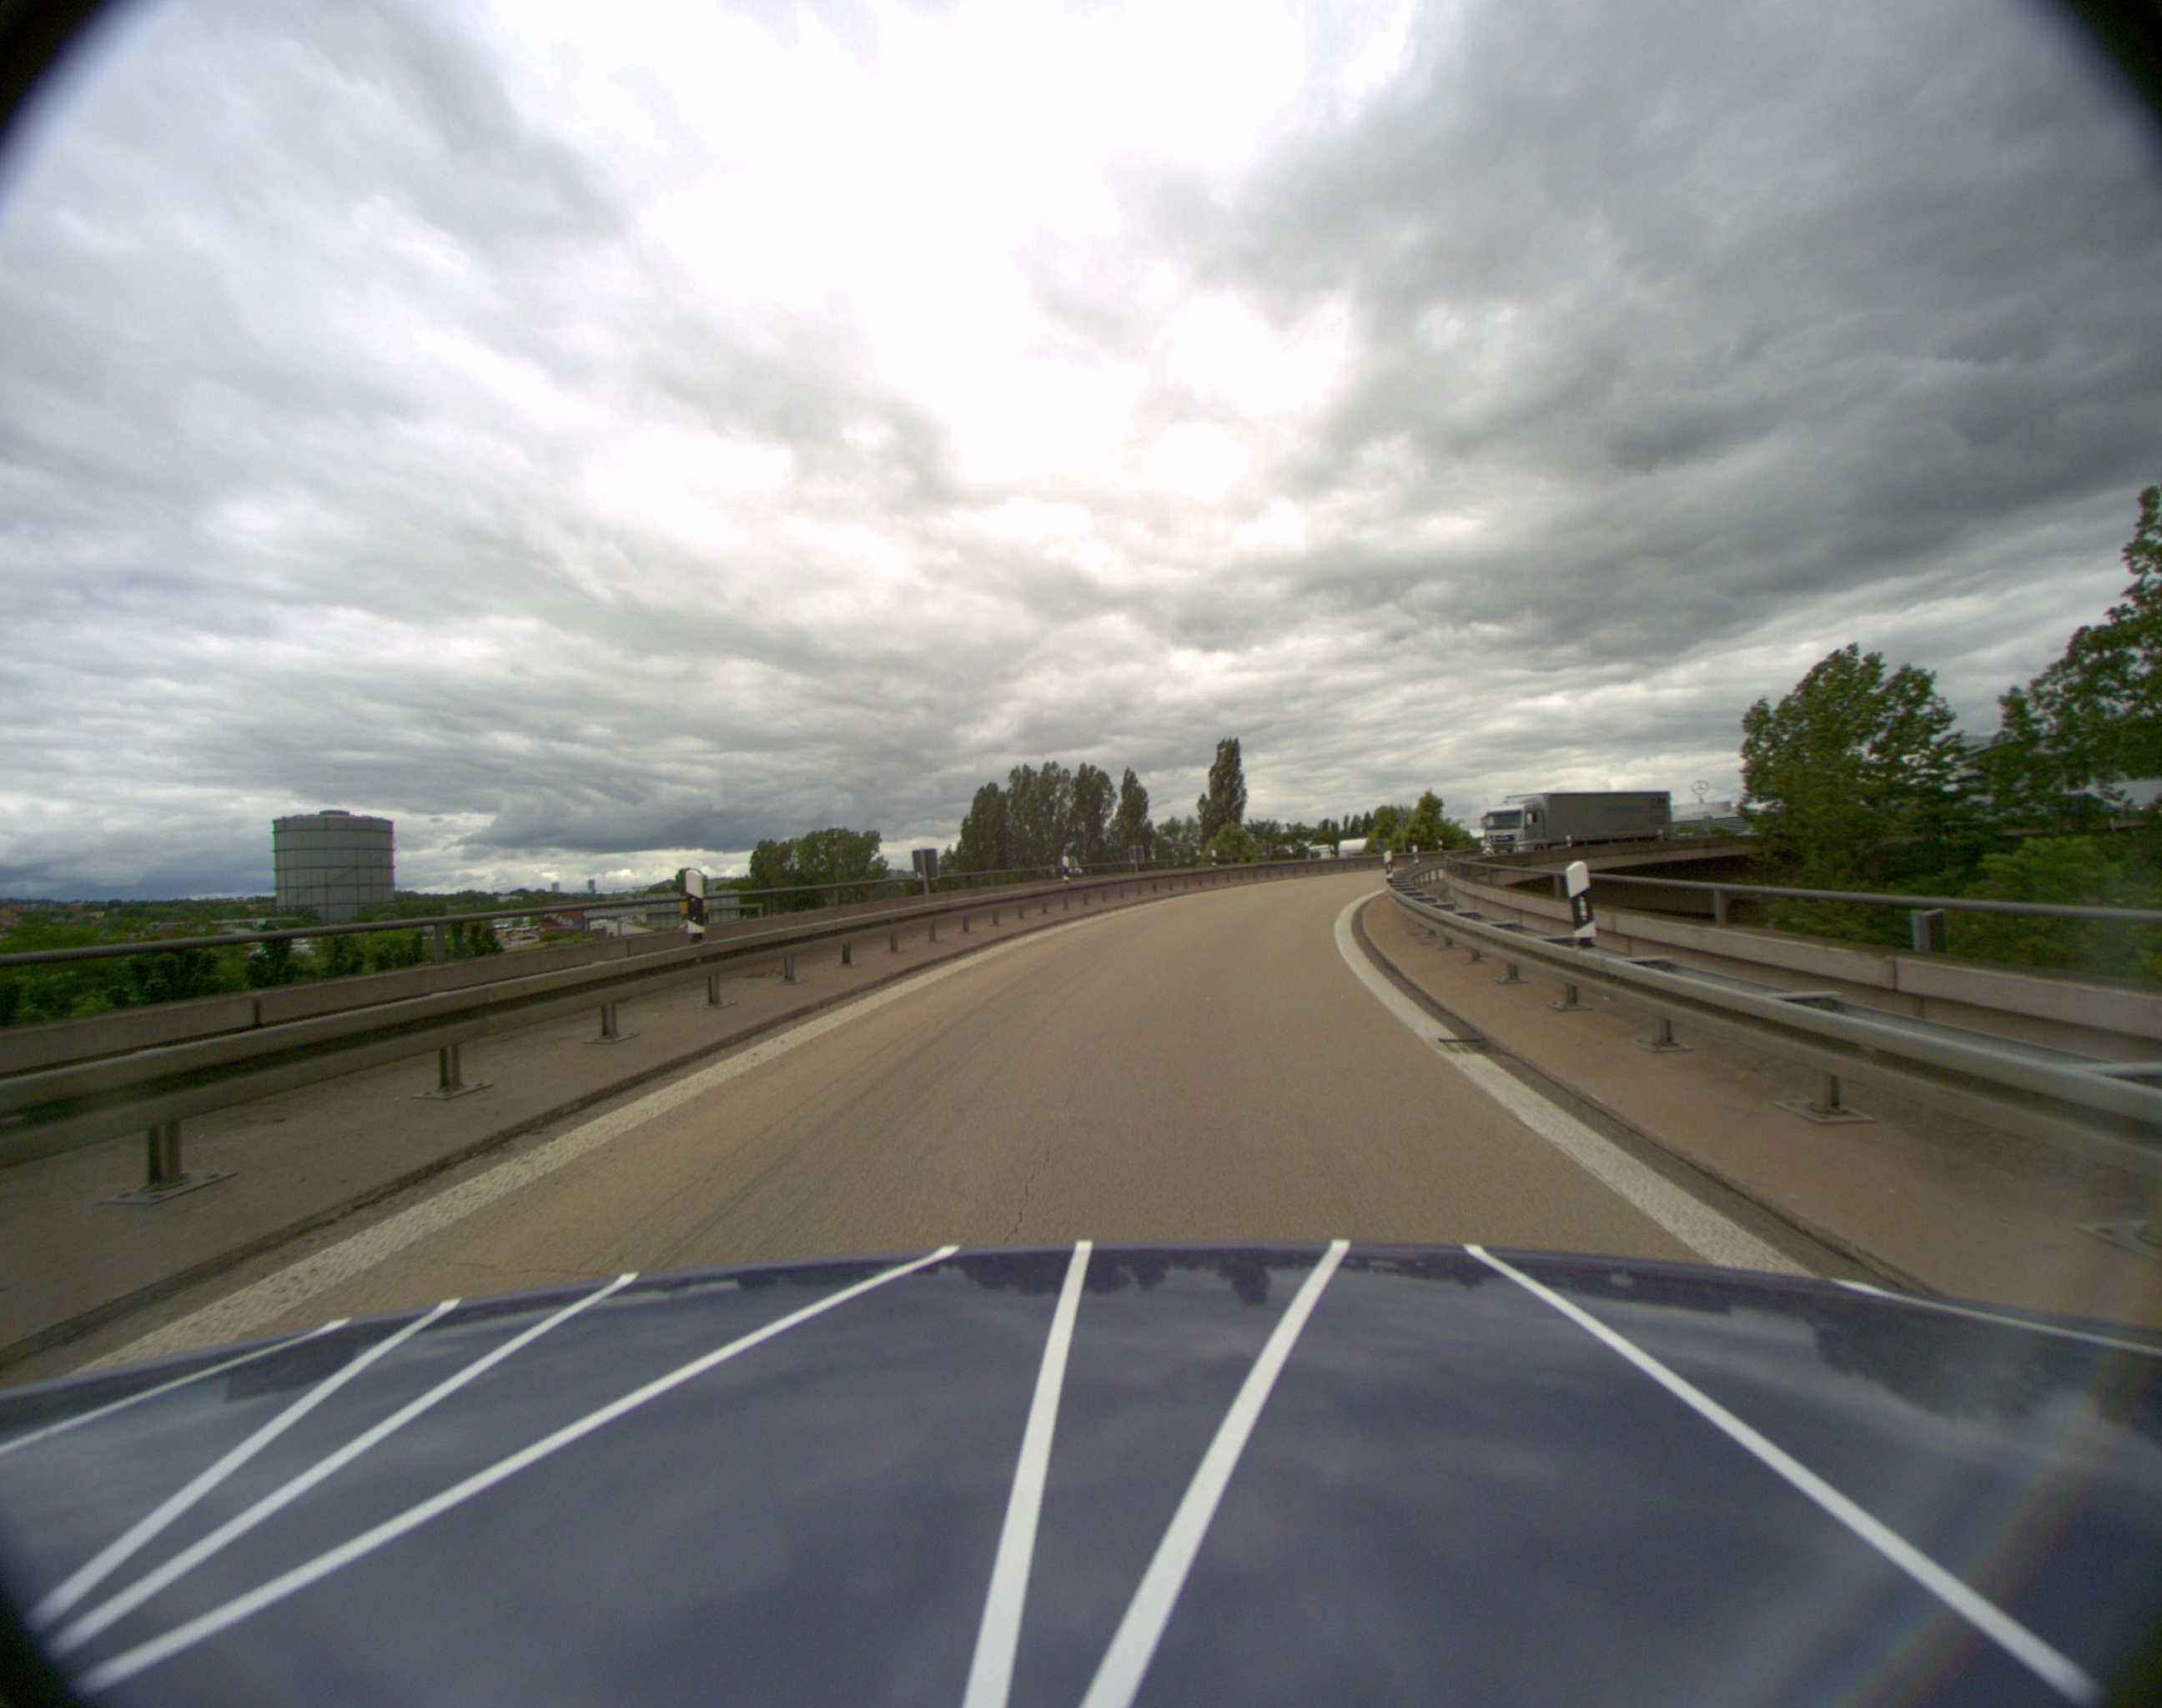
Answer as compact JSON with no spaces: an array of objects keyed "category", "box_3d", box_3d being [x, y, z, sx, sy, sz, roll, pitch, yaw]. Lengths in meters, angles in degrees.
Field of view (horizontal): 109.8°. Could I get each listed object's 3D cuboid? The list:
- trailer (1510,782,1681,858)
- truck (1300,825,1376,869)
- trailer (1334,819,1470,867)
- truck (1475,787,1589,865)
[{"category":"trailer","box_3d":[32.876,-2.245,48.246,13.464,4.212,2.744,-3,0,-27]},{"category":"truck","box_3d":[23.759,-0.656,70.485,6.191,3.624,2.739,-3,0,11]},{"category":"trailer","box_3d":[29.106,-0.975,69.362,10.988,3.628,2.751,-3,0,10]},{"category":"truck","box_3d":[26.687,-1.670,44.927,6.208,4.203,2.731,-3,0,-27]}]
